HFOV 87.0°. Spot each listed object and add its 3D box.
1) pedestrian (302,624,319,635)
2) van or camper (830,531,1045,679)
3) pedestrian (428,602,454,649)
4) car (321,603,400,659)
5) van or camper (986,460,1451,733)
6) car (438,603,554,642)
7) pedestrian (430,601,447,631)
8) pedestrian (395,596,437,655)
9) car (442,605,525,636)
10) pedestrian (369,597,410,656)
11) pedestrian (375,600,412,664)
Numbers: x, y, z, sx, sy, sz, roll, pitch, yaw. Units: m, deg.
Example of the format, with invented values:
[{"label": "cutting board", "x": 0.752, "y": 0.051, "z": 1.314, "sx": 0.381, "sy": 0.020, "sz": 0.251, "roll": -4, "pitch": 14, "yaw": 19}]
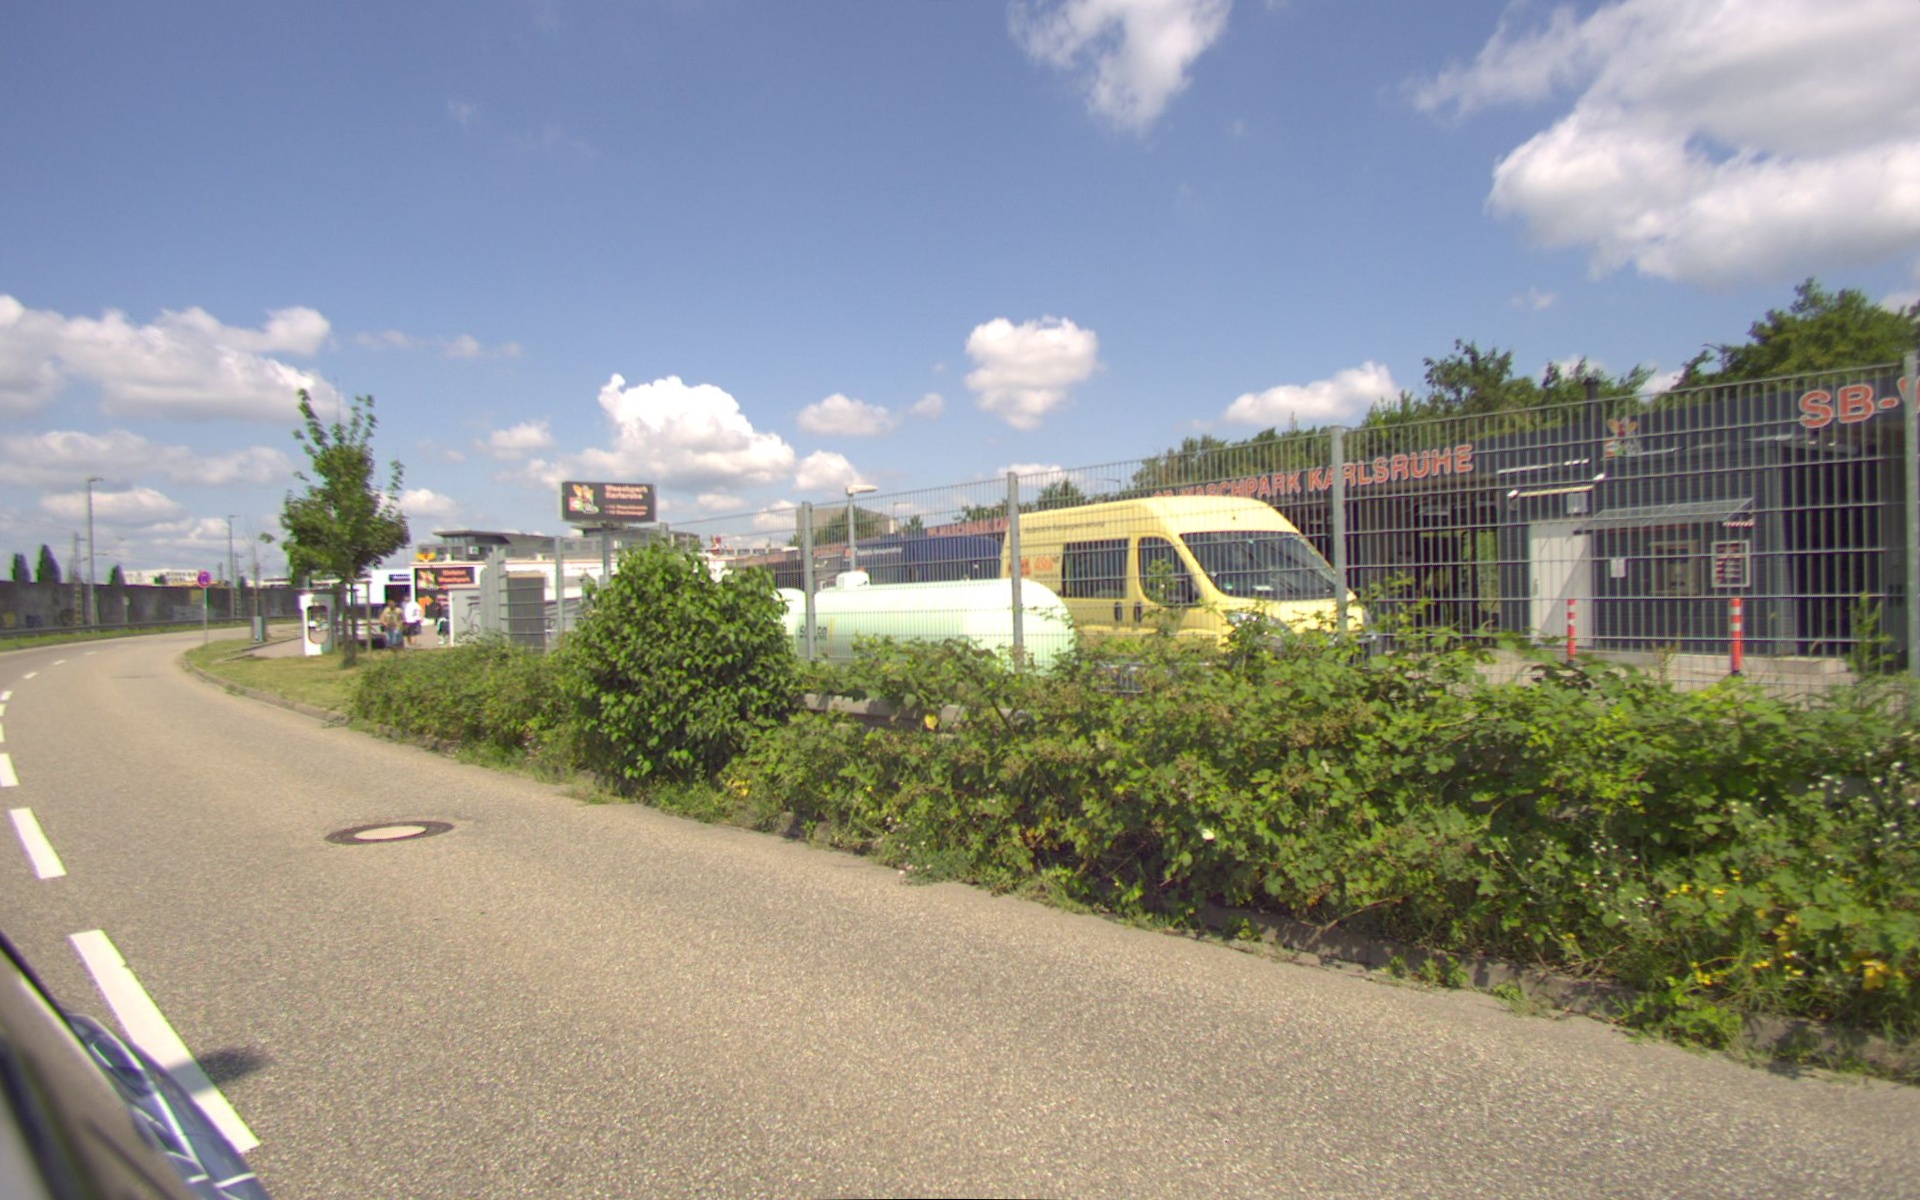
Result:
[{"label": "pedestrian", "x": -45.153, "y": 2.067, "z": 70.350, "sx": 0.850, "sy": 0.766, "sz": 0.820, "roll": 1, "pitch": -2, "yaw": -21}, {"label": "van or camper", "x": -0.602, "y": 0.065, "z": 17.956, "sx": 1.848, "sy": 2.233, "sz": 5.125, "roll": -1, "pitch": 0, "yaw": -25}, {"label": "pedestrian", "x": -20.444, "y": 0.992, "z": 39.894, "sx": 0.850, "sy": 1.764, "sz": 0.730, "roll": -2, "pitch": 1, "yaw": -27}, {"label": "car", "x": -18.582, "y": 0.963, "z": 31.525, "sx": 1.904, "sy": 1.529, "sz": 4.790, "roll": -2, "pitch": -1, "yaw": -29}, {"label": "van or camper", "x": 2.612, "y": -0.049, "z": 12.085, "sx": 2.210, "sy": 2.443, "sz": 5.678, "roll": -1, "pitch": 0, "yaw": -26}, {"label": "car", "x": -20.757, "y": 0.965, "z": 45.315, "sx": 4.489, "sy": 1.535, "sz": 2.006, "roll": -2, "pitch": 1, "yaw": -31}, {"label": "pedestrian", "x": -36.664, "y": 1.136, "z": 71.111, "sx": 0.924, "sy": 2.028, "sz": 0.868, "roll": -1, "pitch": 2, "yaw": -22}, {"label": "pedestrian", "x": -14.883, "y": 0.699, "z": 27.699, "sx": 0.749, "sy": 1.577, "sz": 0.713, "roll": -1, "pitch": 0, "yaw": 4}, {"label": "car", "x": -26.246, "y": 1.093, "z": 55.750, "sx": 3.932, "sy": 1.530, "sz": 2.006, "roll": -2, "pitch": 1, "yaw": -30}, {"label": "pedestrian", "x": -15.650, "y": 0.717, "z": 27.766, "sx": 0.703, "sy": 1.591, "sz": 0.722, "roll": -1, "pitch": 0, "yaw": -2}, {"label": "pedestrian", "x": -14.110, "y": 0.780, "z": 25.216, "sx": 0.727, "sy": 1.553, "sz": 0.818, "roll": -1, "pitch": 0, "yaw": -26}]
